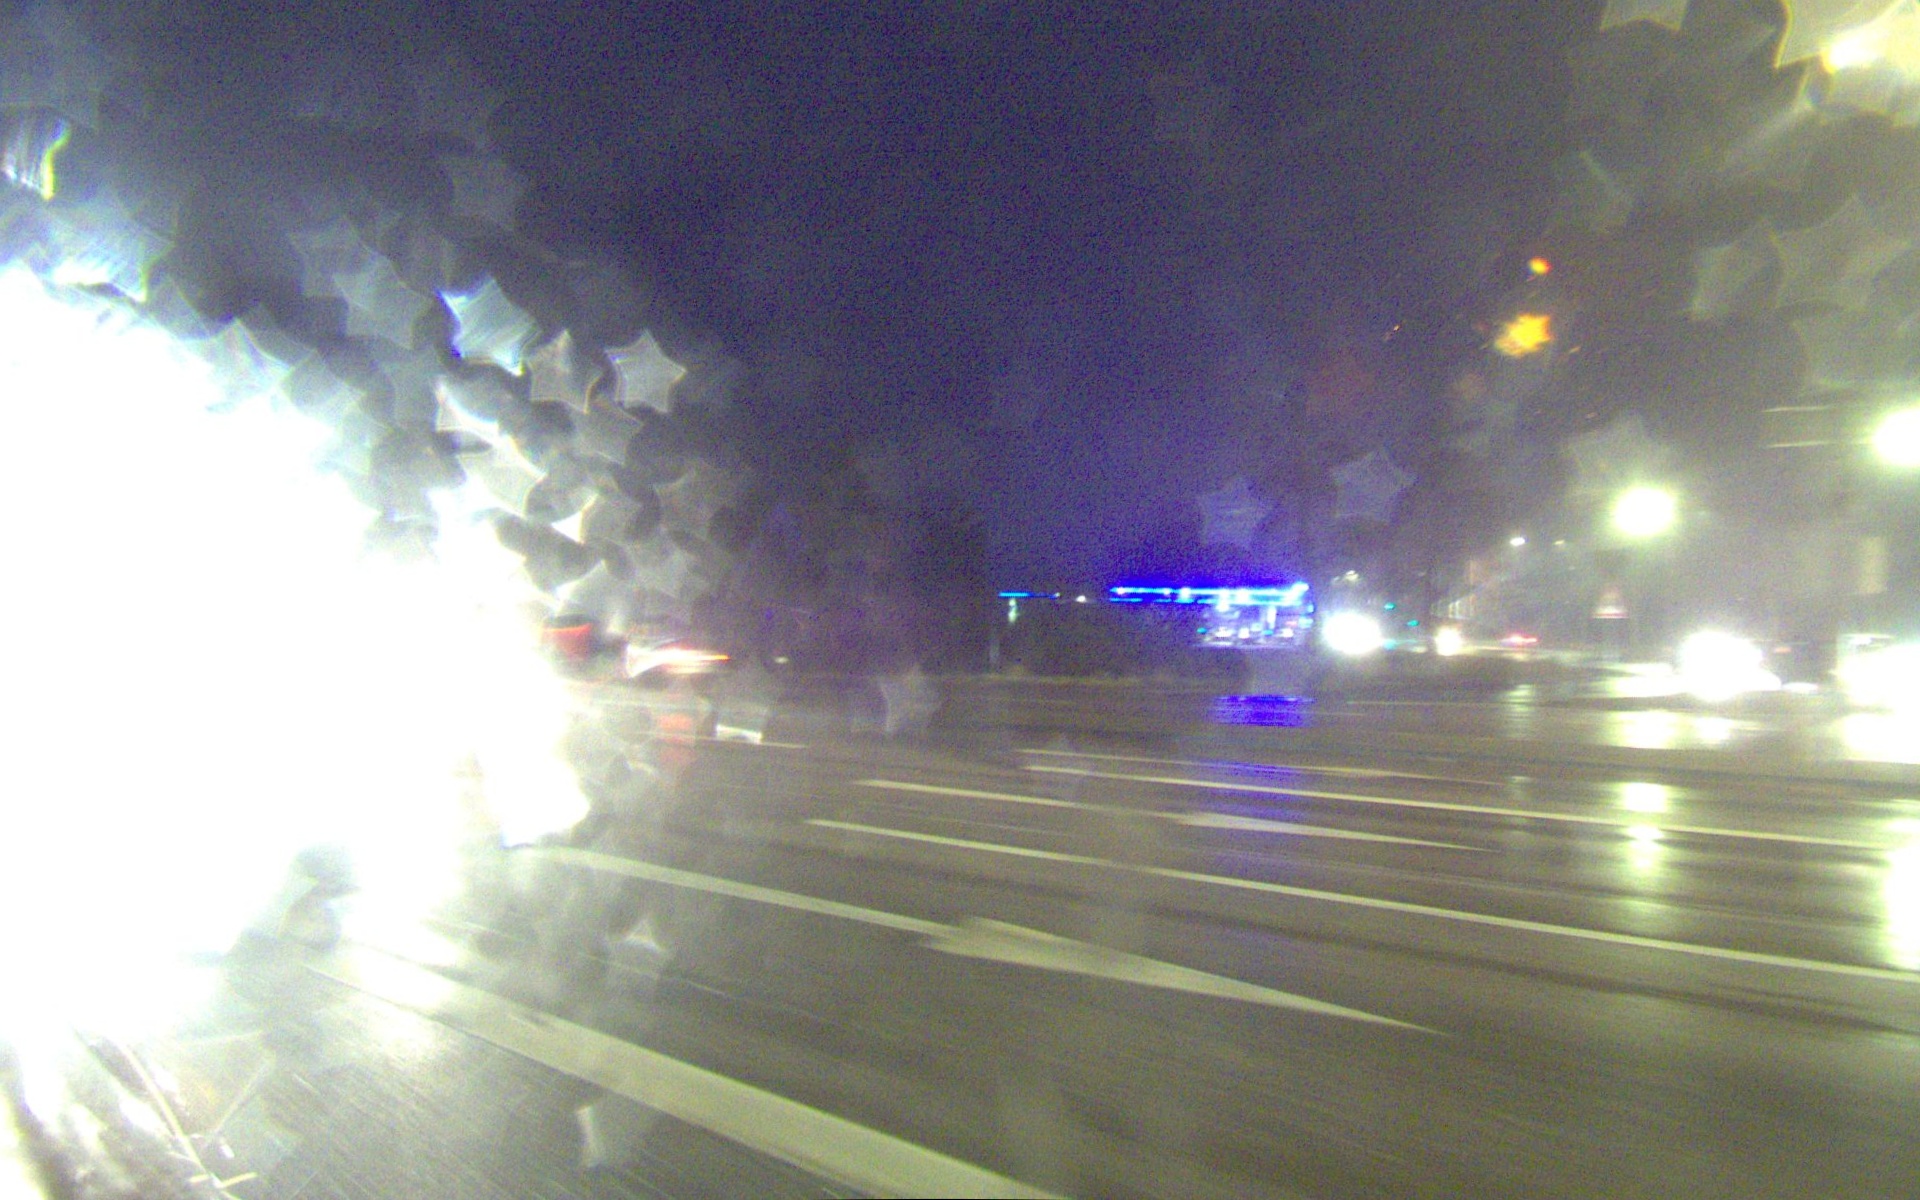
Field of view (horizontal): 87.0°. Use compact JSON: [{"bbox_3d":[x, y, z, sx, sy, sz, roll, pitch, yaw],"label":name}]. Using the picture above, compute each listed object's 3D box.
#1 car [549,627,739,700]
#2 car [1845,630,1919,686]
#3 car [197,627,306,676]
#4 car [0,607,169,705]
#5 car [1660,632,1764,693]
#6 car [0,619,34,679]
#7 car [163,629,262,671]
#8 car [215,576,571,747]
[{"bbox_3d":[-8.199,1.615,26.127,4.773,1.473,1.912,0,-11,32],"label":"car"},{"bbox_3d":[36.456,2.216,39.310,1.697,1.953,3.593,0,0,15],"label":"car"},{"bbox_3d":[-27.467,1.950,39.204,4.447,1.733,1.886,0,-2,33],"label":"car"},{"bbox_3d":[-17.693,1.070,20.367,4.233,1.607,1.766,3,-2,39],"label":"car"},{"bbox_3d":[28.843,2.335,38.978,1.646,2.095,3.985,0,0,12],"label":"car"},{"bbox_3d":[-26.120,1.275,26.881,4.171,1.456,1.659,0,0,39],"label":"car"},{"bbox_3d":[-33.908,2.236,45.875,4.770,1.806,2.014,-1,-2,32],"label":"car"},{"bbox_3d":[-7.275,0.688,12.860,4.706,1.807,1.978,-1,-1,33],"label":"car"}]
